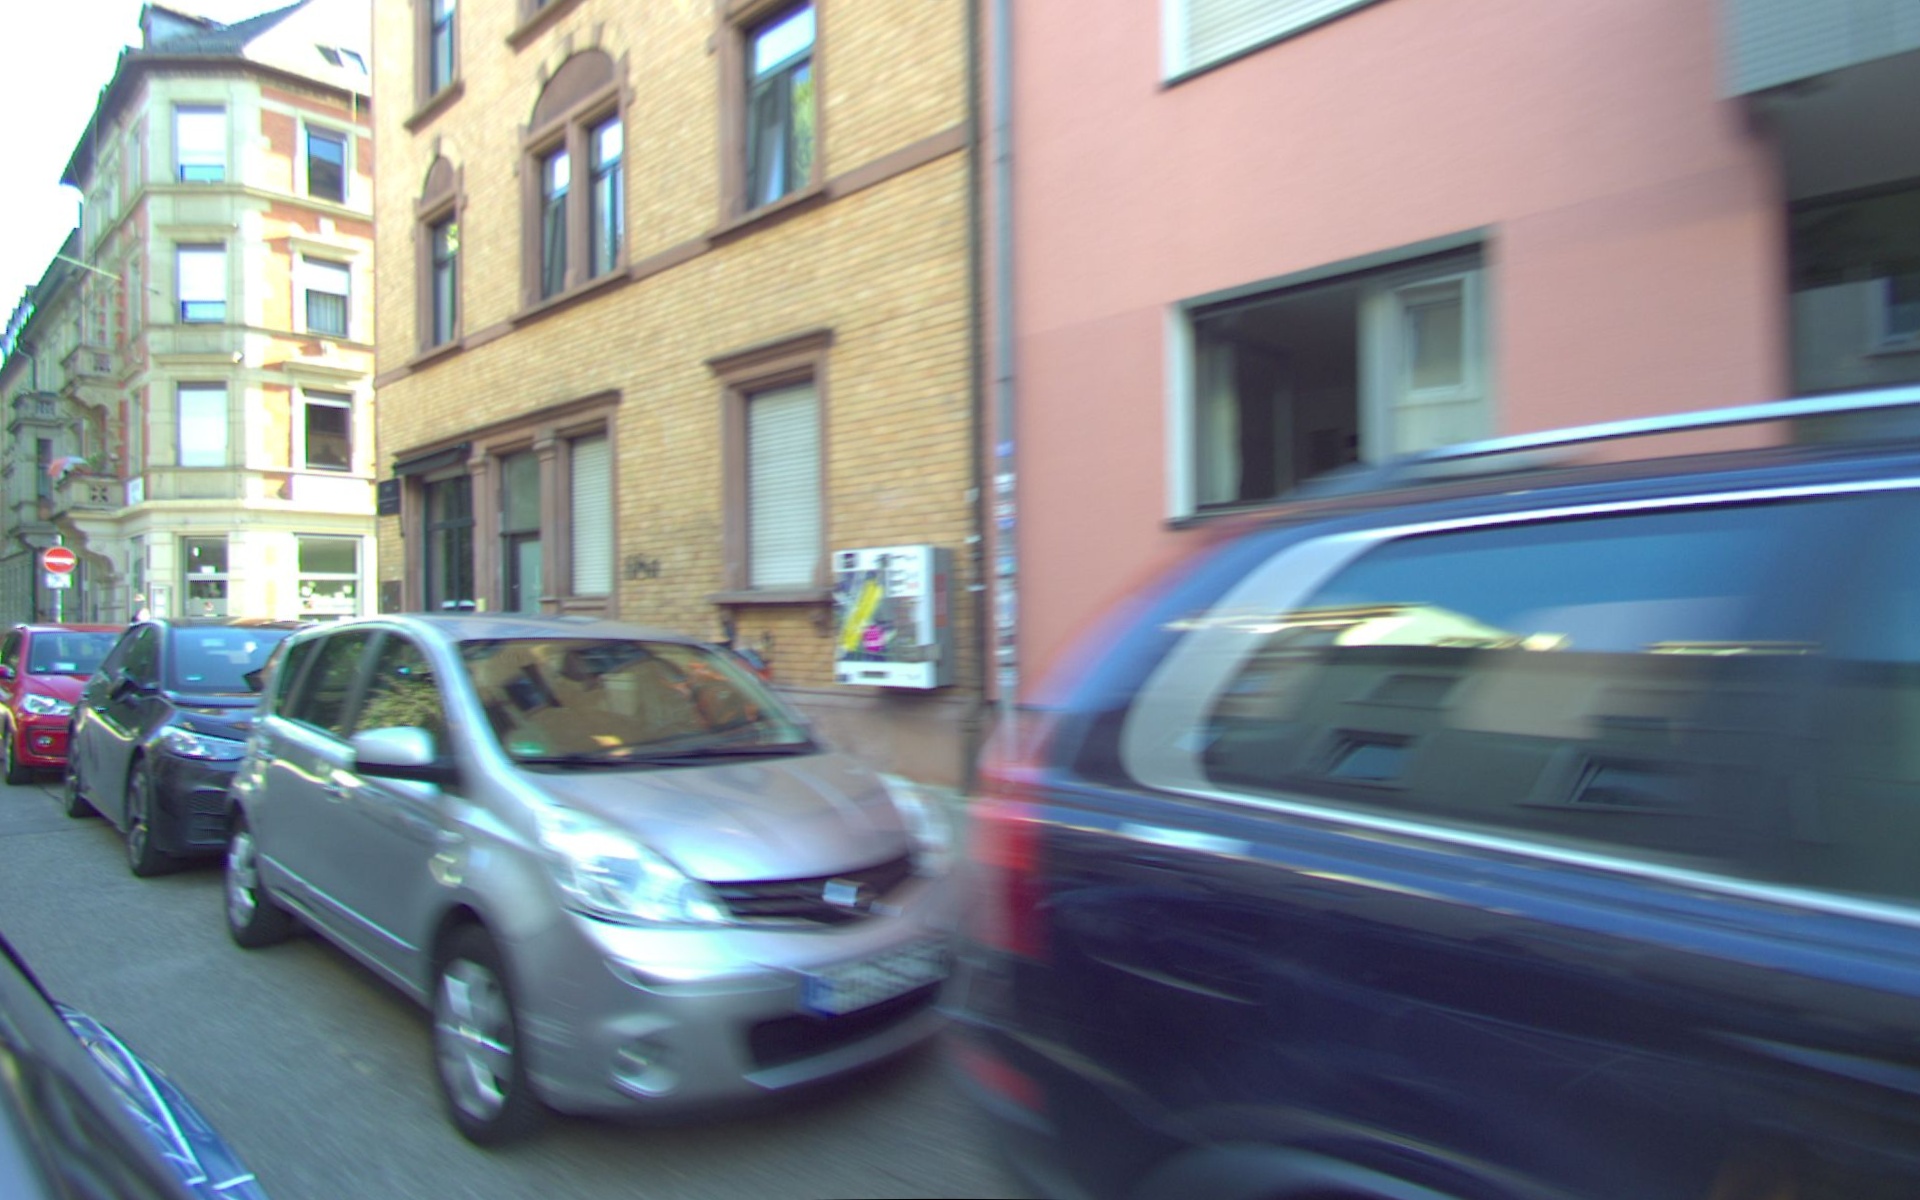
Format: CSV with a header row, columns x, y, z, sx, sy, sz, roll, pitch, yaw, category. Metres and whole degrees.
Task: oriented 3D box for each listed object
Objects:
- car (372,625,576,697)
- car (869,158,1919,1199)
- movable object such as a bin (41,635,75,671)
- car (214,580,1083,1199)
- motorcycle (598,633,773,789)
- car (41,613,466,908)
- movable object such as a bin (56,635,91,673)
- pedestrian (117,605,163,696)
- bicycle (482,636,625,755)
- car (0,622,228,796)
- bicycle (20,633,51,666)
x,y,z,sx,sy,sz,roll,pitch,yaw,category
-12.399,1.483,25.987,4.374,1.542,1.869,0,1,-43,car
2.132,0.545,0.742,4.672,1.825,1.724,-2,-3,43,car
-27.273,1.591,30.595,0.856,1.049,0.631,-1,1,41,movable object such as a bin
-1.577,0.795,4.128,3.944,1.533,1.638,-2,-3,43,car
-2.453,0.911,8.890,1.908,1.215,0.527,-2,-1,42,motorcycle
-5.258,0.908,7.303,4.096,1.533,1.677,-2,-3,43,car
-25.545,1.550,29.165,0.856,1.049,0.631,-1,1,41,movable object such as a bin
-15.553,0.940,19.193,0.717,1.656,0.542,1,1,41,pedestrian
-4.248,0.944,10.509,1.890,1.082,0.528,-1,3,42,bicycle
-9.078,0.999,10.478,3.599,1.492,1.611,-2,-3,41,car
-31.336,1.658,34.291,1.545,1.049,0.565,-1,1,41,bicycle
